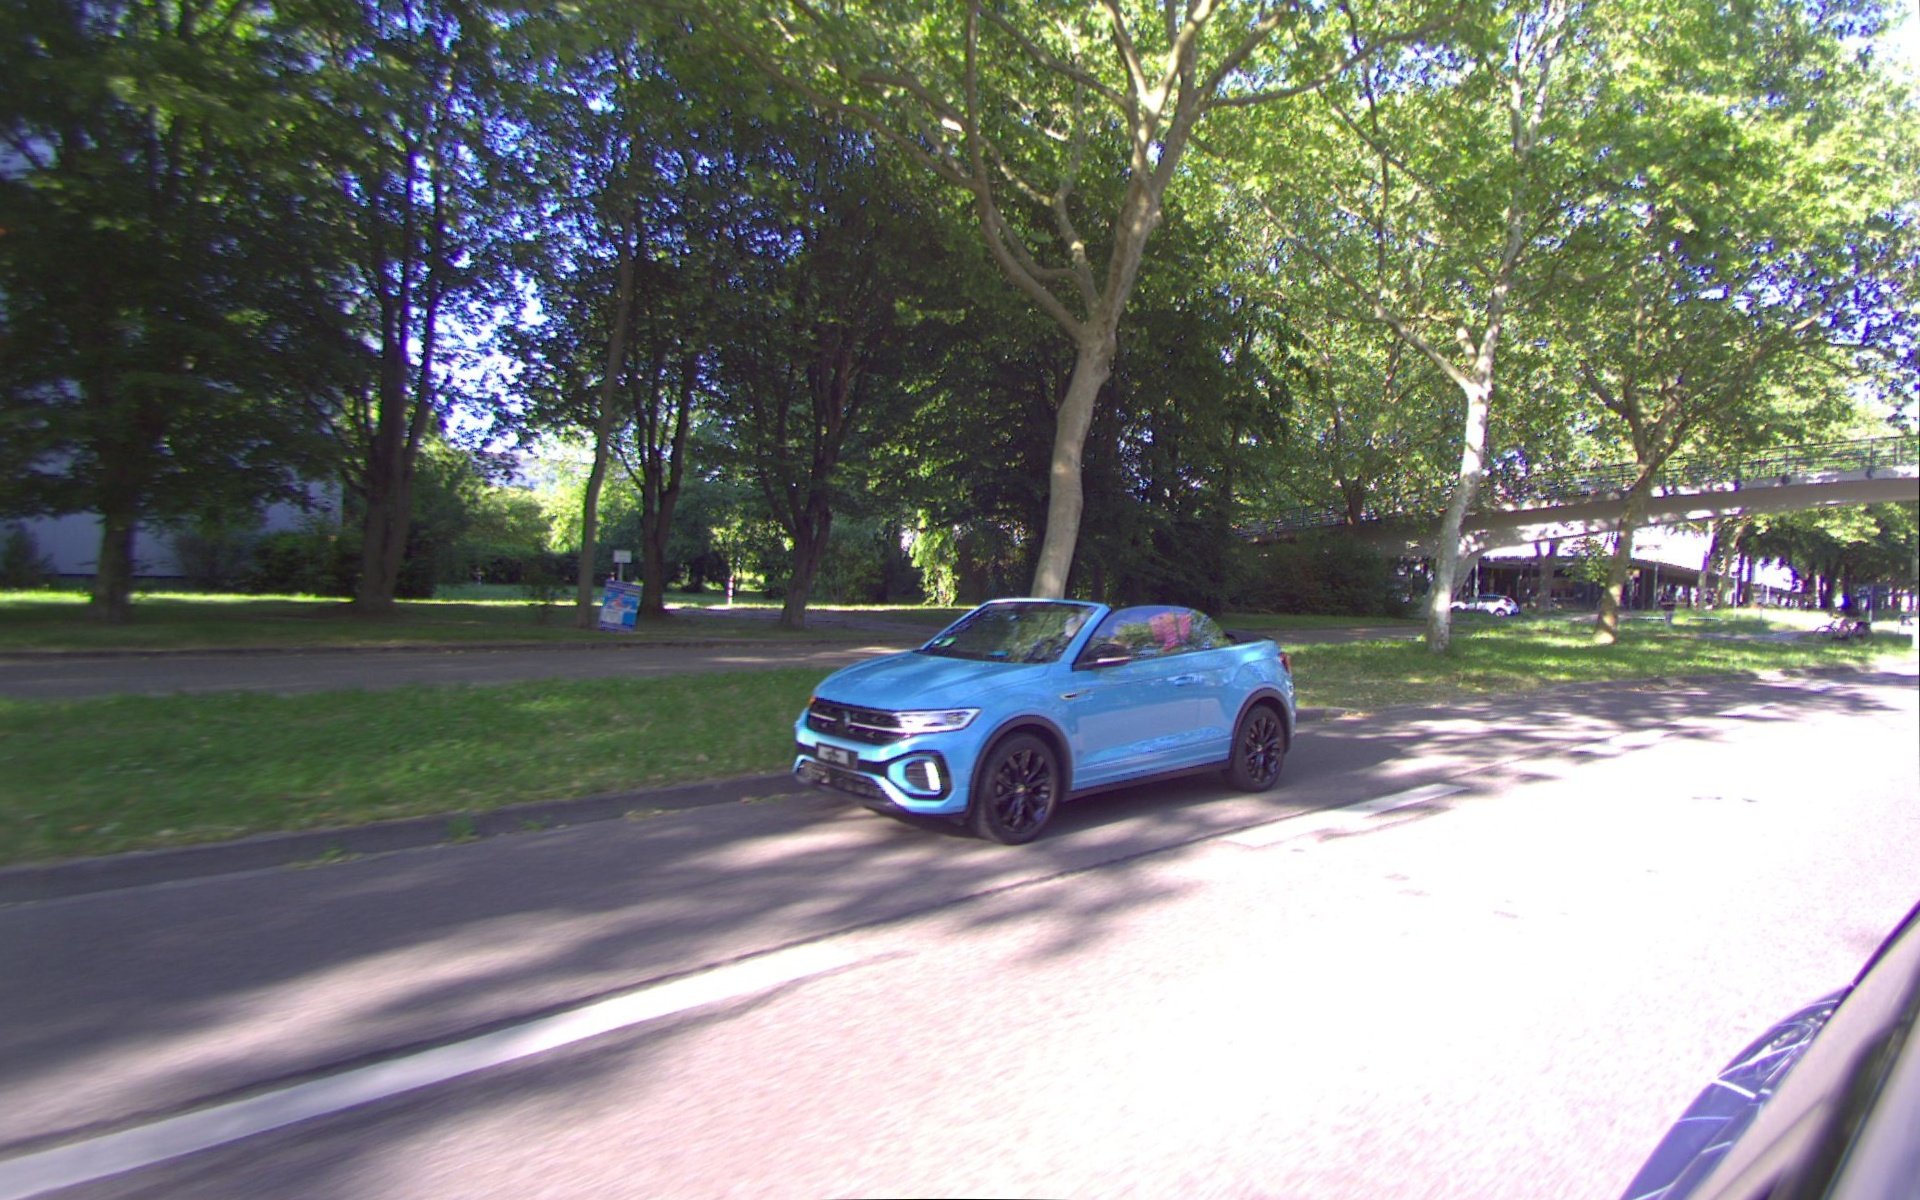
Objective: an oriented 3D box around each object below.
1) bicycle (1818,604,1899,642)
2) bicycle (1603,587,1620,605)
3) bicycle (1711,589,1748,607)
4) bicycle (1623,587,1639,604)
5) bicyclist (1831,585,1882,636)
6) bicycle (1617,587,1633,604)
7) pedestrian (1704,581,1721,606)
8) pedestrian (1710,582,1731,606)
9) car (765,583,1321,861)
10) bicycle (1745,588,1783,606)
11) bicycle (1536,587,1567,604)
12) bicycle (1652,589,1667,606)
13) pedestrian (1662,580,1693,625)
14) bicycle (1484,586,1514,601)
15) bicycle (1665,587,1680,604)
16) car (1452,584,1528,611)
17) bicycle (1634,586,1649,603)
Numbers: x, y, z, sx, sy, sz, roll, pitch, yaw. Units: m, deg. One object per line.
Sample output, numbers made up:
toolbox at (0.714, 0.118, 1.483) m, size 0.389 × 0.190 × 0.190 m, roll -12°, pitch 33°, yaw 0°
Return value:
bicycle at (30.693, 0.775, 34.608) m, size 0.798 × 1.161 × 1.841 m, roll 2°, pitch 2°, yaw -22°
bicycle at (45.231, -0.298, 70.247) m, size 1.776 × 1.269 × 0.576 m, roll 0°, pitch 0°, yaw -43°
bicycle at (56.177, -0.161, 73.871) m, size 0.550 × 1.172 × 2.077 m, roll 1°, pitch 2°, yaw -27°
bicycle at (49.421, -0.343, 74.516) m, size 1.776 × 1.269 × 0.576 m, roll 0°, pitch 0°, yaw -43°
bicyclist at (30.676, 0.344, 34.642) m, size 0.797 × 1.652 × 0.959 m, roll 2°, pitch 2°, yaw -20°
bicycle at (47.988, -0.328, 73.057) m, size 1.776 × 1.269 × 0.576 m, roll 0°, pitch 0°, yaw -43°
pedestrian at (57.040, -0.524, 76.685) m, size 0.963 × 1.863 × 0.939 m, roll 2°, pitch 1°, yaw 40°
pedestrian at (55.604, -0.457, 73.980) m, size 1.126 × 1.729 × 0.722 m, roll 2°, pitch 2°, yaw 40°
car at (0.784, 0.655, 7.496) m, size 4.027 × 1.502 × 1.779 m, roll 0°, pitch 1°, yaw -40°
bicycle at (56.734, -0.236, 71.414) m, size 2.063 × 1.172 × 0.554 m, roll 4°, pitch 2°, yaw 39°
bicycle at (41.816, -0.352, 71.525) m, size 1.799 × 1.129 × 0.700 m, roll 3°, pitch 3°, yaw 42°
bicycle at (51.563, -0.200, 74.598) m, size 1.776 × 1.269 × 0.576 m, roll 0°, pitch 0°, yaw -43°
pedestrian at (29.105, 0.087, 41.074) m, size 0.725 × 1.800 × 0.661 m, roll 2°, pitch 0°, yaw -4°
bicycle at (39.341, -0.455, 73.890) m, size 1.800 × 0.966 × 0.700 m, roll 5°, pitch 4°, yaw 42°
bicycle at (54.955, -0.352, 78.050) m, size 1.776 × 1.269 × 0.576 m, roll 0°, pitch 0°, yaw -43°
car at (32.001, -0.172, 61.170) m, size 1.681 × 1.515 × 3.732 m, roll 3°, pitch -1°, yaw -44°
bicycle at (52.418, -0.426, 77.825) m, size 1.776 × 1.269 × 0.576 m, roll 0°, pitch 0°, yaw -43°
